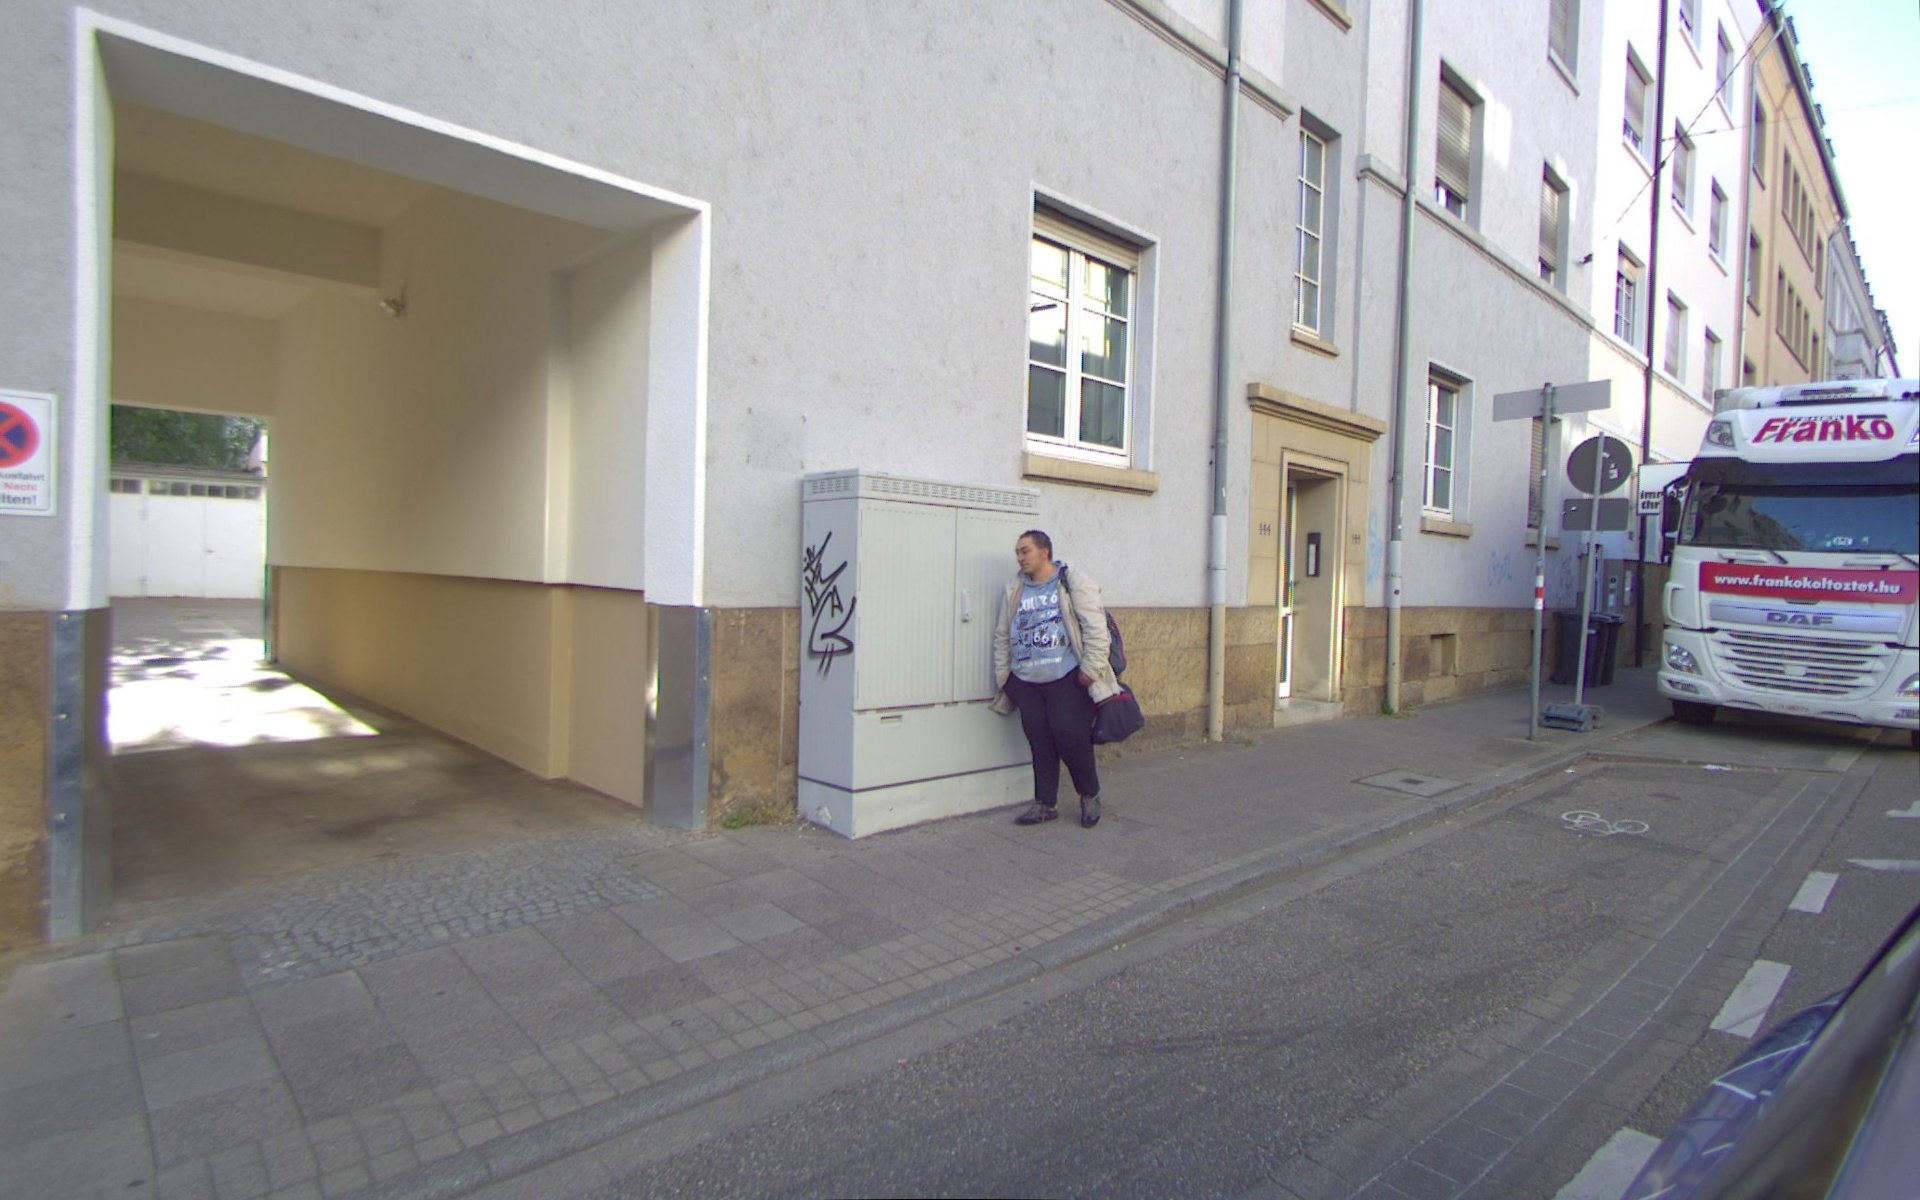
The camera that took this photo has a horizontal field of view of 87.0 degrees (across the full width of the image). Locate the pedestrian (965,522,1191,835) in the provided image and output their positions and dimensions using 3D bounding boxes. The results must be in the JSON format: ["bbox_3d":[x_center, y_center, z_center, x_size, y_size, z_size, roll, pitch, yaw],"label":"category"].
[{"bbox_3d":[0.652,0.374,5.651,0.854,1.552,0.827,0,3,-42],"label":"pedestrian"}]

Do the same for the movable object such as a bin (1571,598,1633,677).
[{"bbox_3d":[9.515,0.542,14.994,0.658,1.118,0.533,2,2,44],"label":"movable object such as a bin"}]

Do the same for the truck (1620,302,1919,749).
[{"bbox_3d":[12.505,-0.729,13.944,11.578,4.123,2.864,0,2,-43],"label":"truck"}]

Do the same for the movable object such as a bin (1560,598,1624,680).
[{"bbox_3d":[9.105,0.546,14.579,0.658,1.118,0.533,2,2,44],"label":"movable object such as a bin"}]
